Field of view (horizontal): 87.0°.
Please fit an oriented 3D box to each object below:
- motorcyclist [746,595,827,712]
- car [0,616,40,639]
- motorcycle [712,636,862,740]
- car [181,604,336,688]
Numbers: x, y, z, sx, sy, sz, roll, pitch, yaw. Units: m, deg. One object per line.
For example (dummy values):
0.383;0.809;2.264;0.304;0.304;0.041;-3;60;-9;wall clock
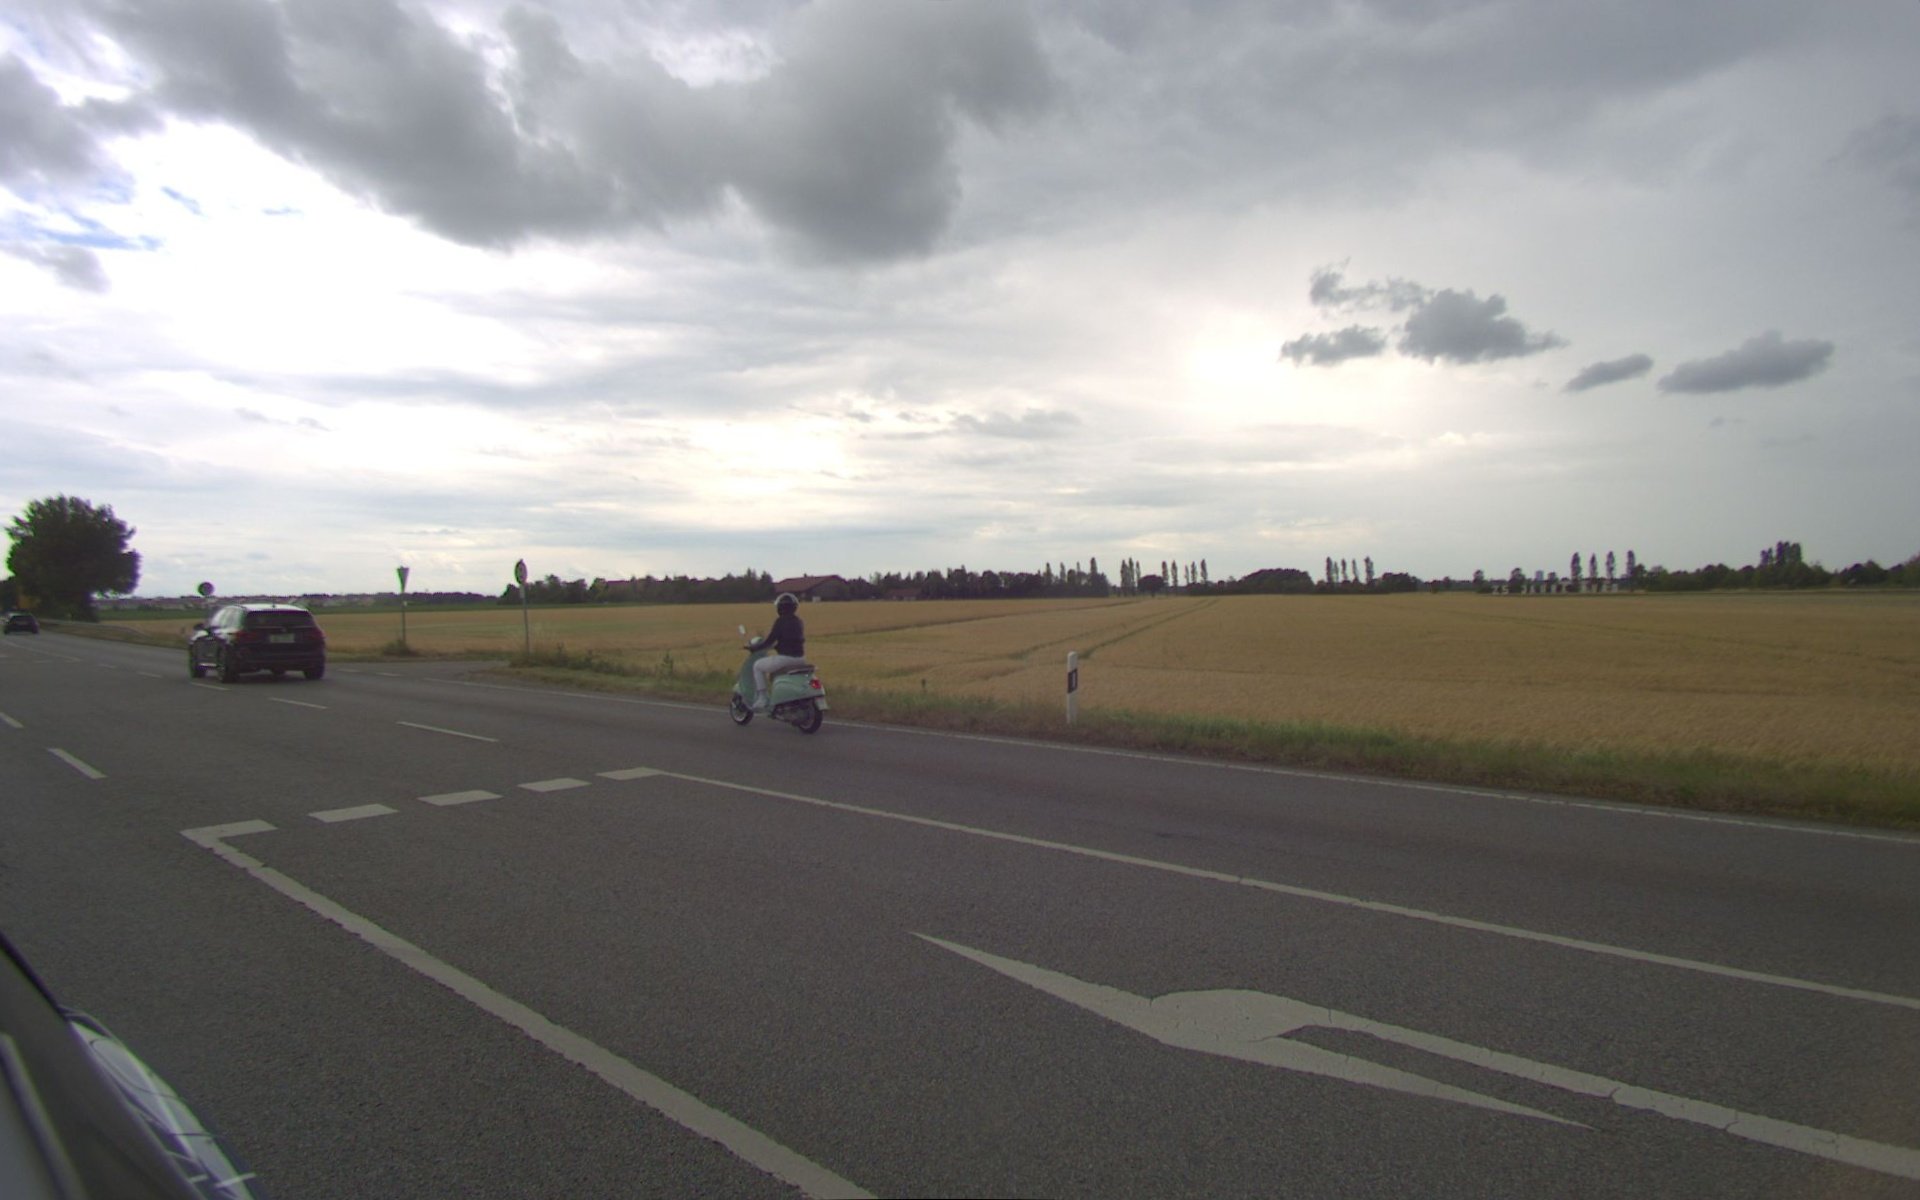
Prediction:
-2.150;0.638;12.529;0.809;1.394;0.633;-1;-1;41;motorcyclist
-64.923;1.889;69.773;4.001;1.521;1.971;-1;-2;44;car
-2.180;1.039;12.558;2.023;1.157;0.718;-1;-1;41;motorcycle
-15.847;0.962;22.769;4.446;1.707;1.926;-1;-1;42;car
